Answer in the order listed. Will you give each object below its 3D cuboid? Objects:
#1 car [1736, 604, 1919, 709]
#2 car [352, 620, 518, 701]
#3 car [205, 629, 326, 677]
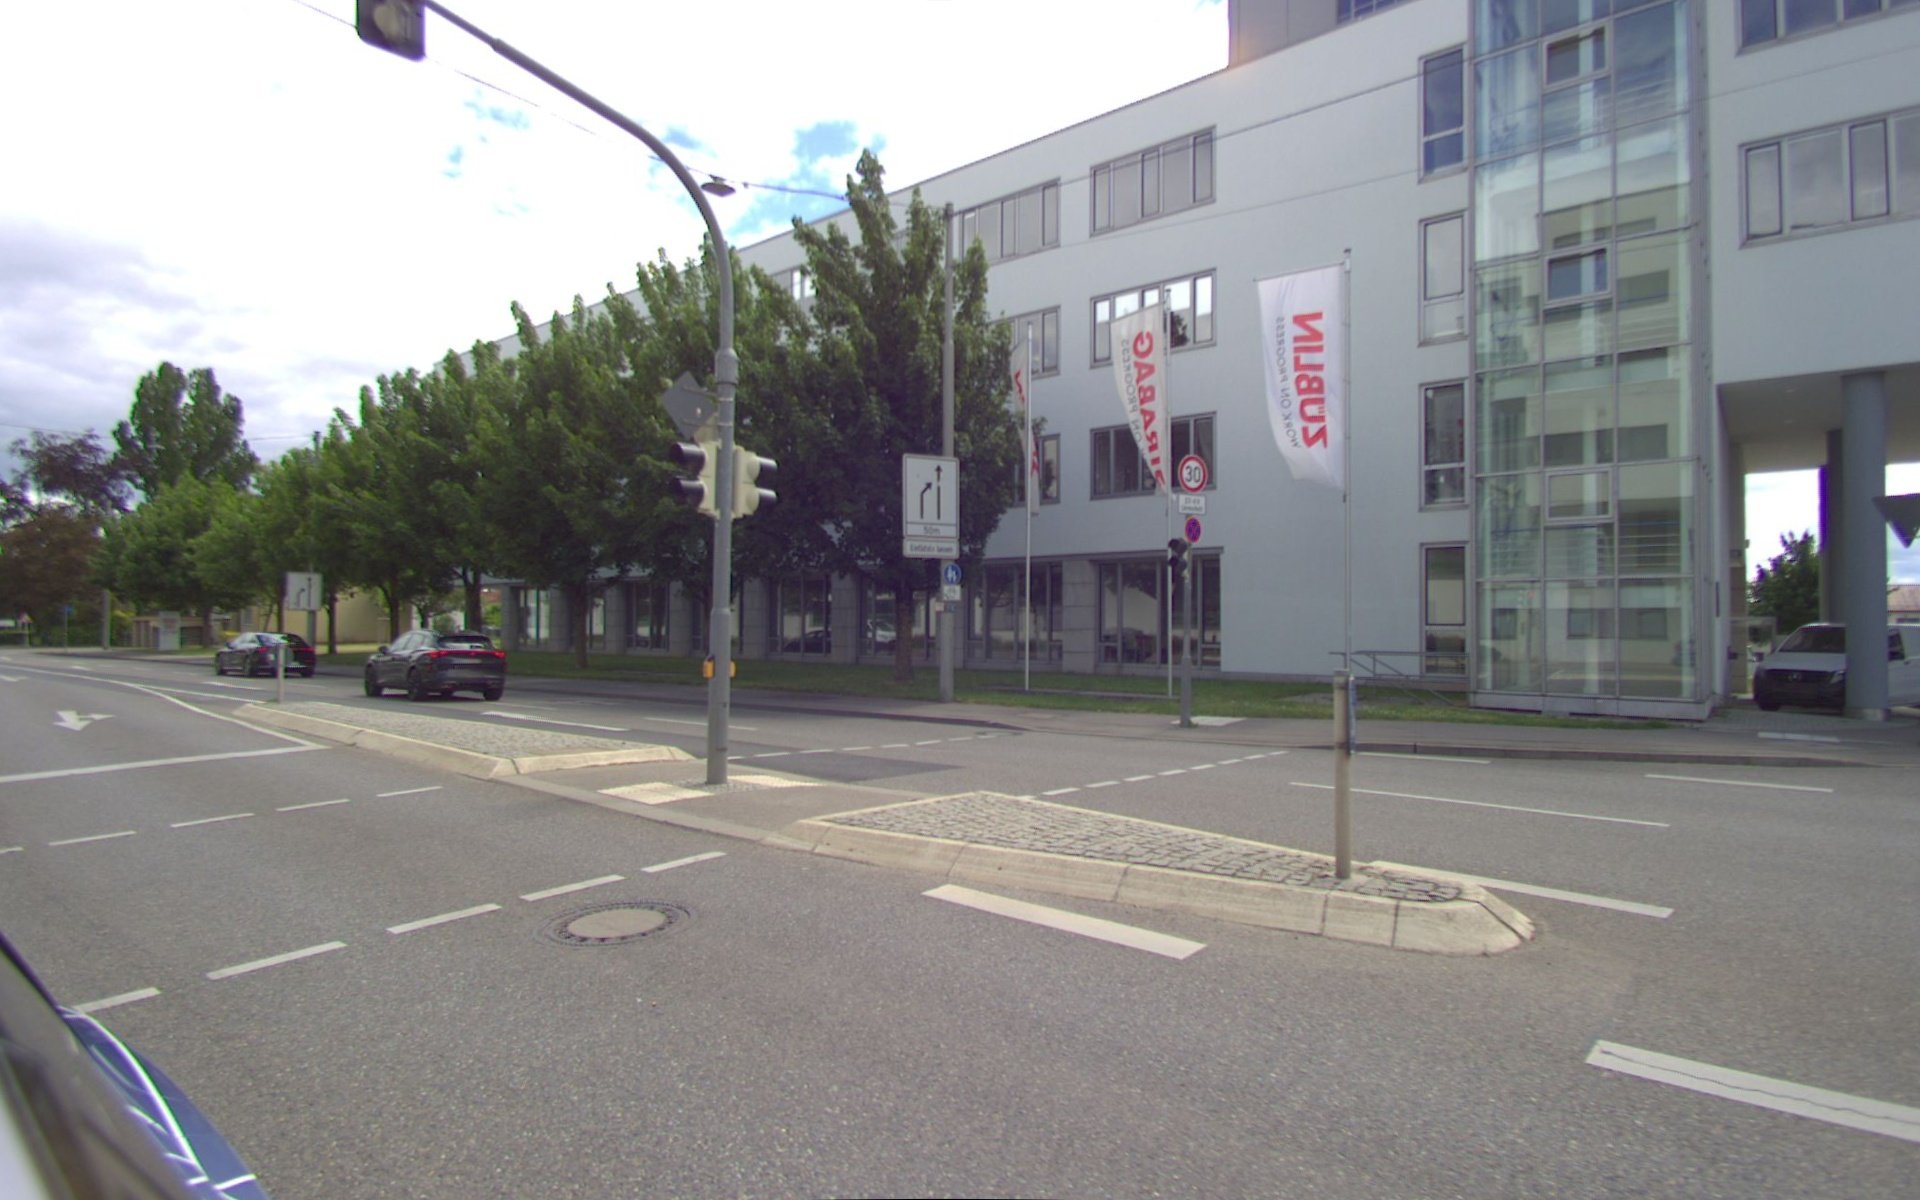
[{"bbox_3d":[18.144,1.141,20.337,4.751,1.882,2.091,3,-1,-26],"label":"car"},{"bbox_3d":[-11.715,1.274,22.448,4.541,1.564,1.864,0,-2,44],"label":"car"},{"bbox_3d":[-23.638,1.772,34.388,5.044,1.456,2.004,-1,-3,39],"label":"car"}]
